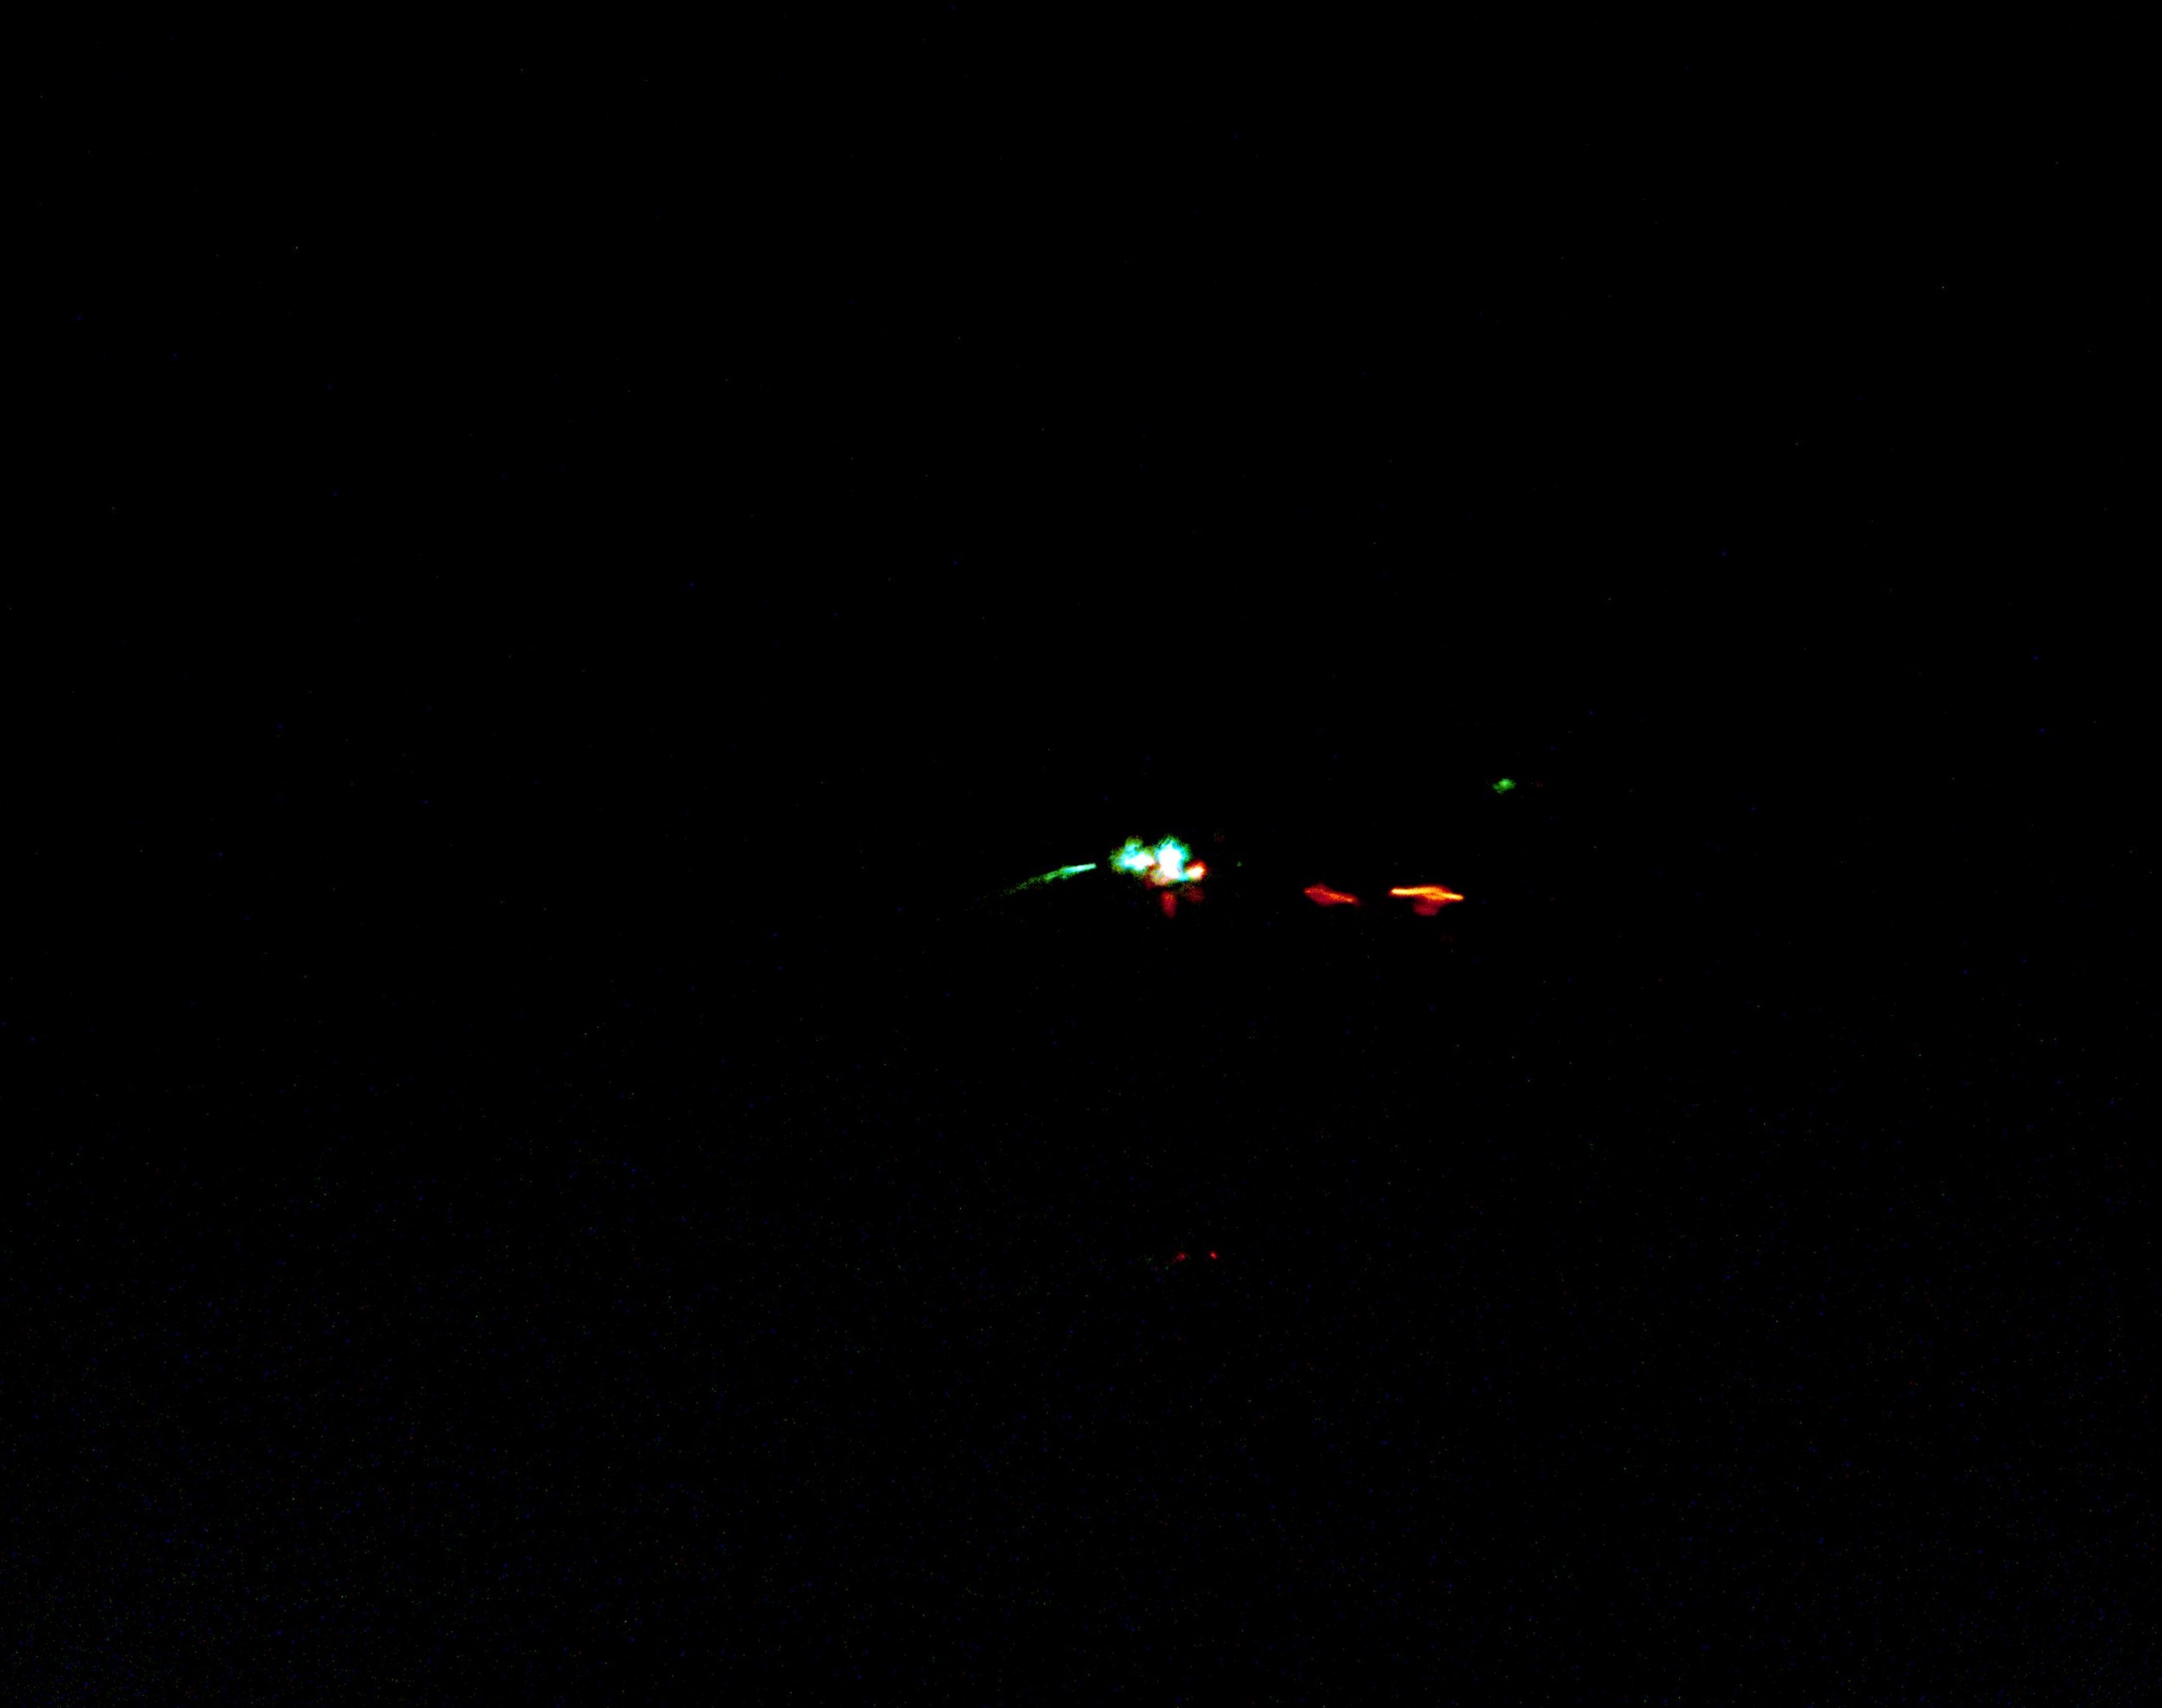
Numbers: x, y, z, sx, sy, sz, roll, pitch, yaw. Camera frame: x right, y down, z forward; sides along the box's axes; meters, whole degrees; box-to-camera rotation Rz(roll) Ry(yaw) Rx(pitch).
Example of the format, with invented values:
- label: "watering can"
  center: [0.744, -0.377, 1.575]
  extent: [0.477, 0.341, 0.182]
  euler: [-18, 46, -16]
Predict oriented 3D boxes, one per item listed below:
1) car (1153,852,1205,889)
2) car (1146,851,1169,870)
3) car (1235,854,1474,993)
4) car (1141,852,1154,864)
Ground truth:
- label: "car"
  center: [4.345, 0.685, 34.237]
  extent: [1.837, 1.474, 4.353]
  euler: [-2, 0, 1]
- label: "car"
  center: [6.387, 0.510, 63.855]
  extent: [1.705, 1.497, 3.684]
  euler: [-2, 1, 4]
- label: "car"
  center: [3.465, 0.780, 10.514]
  extent: [1.837, 1.474, 4.069]
  euler: [-2, 0, 0]
- label: "car"
  center: [9.549, 0.564, 109.373]
  extent: [1.746, 1.623, 3.736]
  euler: [-1, 0, 2]
